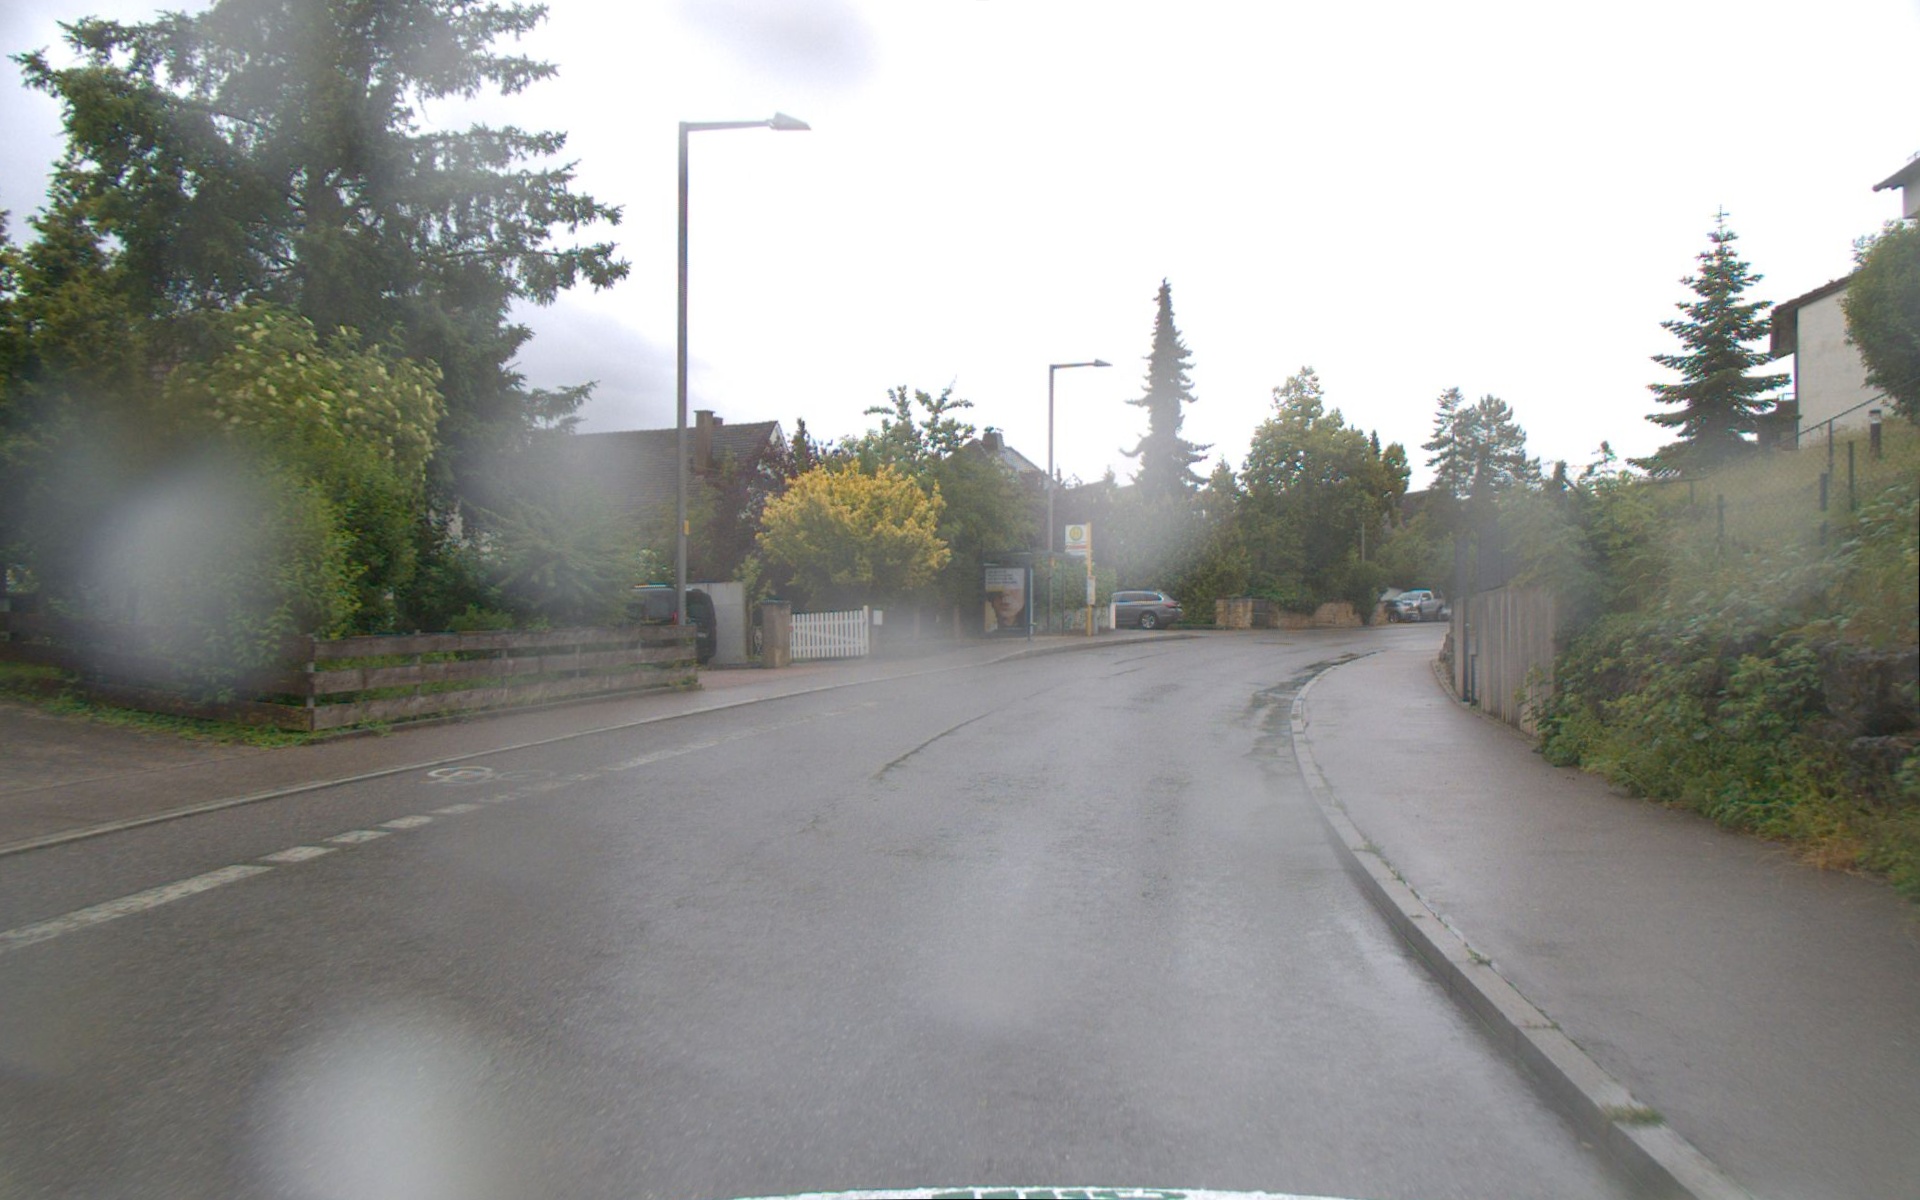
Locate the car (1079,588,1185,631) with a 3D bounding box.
[{"bbox_3d":[6.597,0.334,63.352,3.764,1.599,1.787,0,0,18],"label":"car"}]

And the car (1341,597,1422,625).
[{"bbox_3d":[23.108,0.564,90.723,3.923,1.486,1.893,0,0,39],"label":"car"}]

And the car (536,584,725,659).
[{"bbox_3d":[-7.712,0.478,38.747,3.907,1.648,1.999,1,0,24],"label":"car"}]

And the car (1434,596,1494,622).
[{"bbox_3d":[29.613,0.520,97.118,1.963,1.486,3.979,0,0,40],"label":"car"}]
